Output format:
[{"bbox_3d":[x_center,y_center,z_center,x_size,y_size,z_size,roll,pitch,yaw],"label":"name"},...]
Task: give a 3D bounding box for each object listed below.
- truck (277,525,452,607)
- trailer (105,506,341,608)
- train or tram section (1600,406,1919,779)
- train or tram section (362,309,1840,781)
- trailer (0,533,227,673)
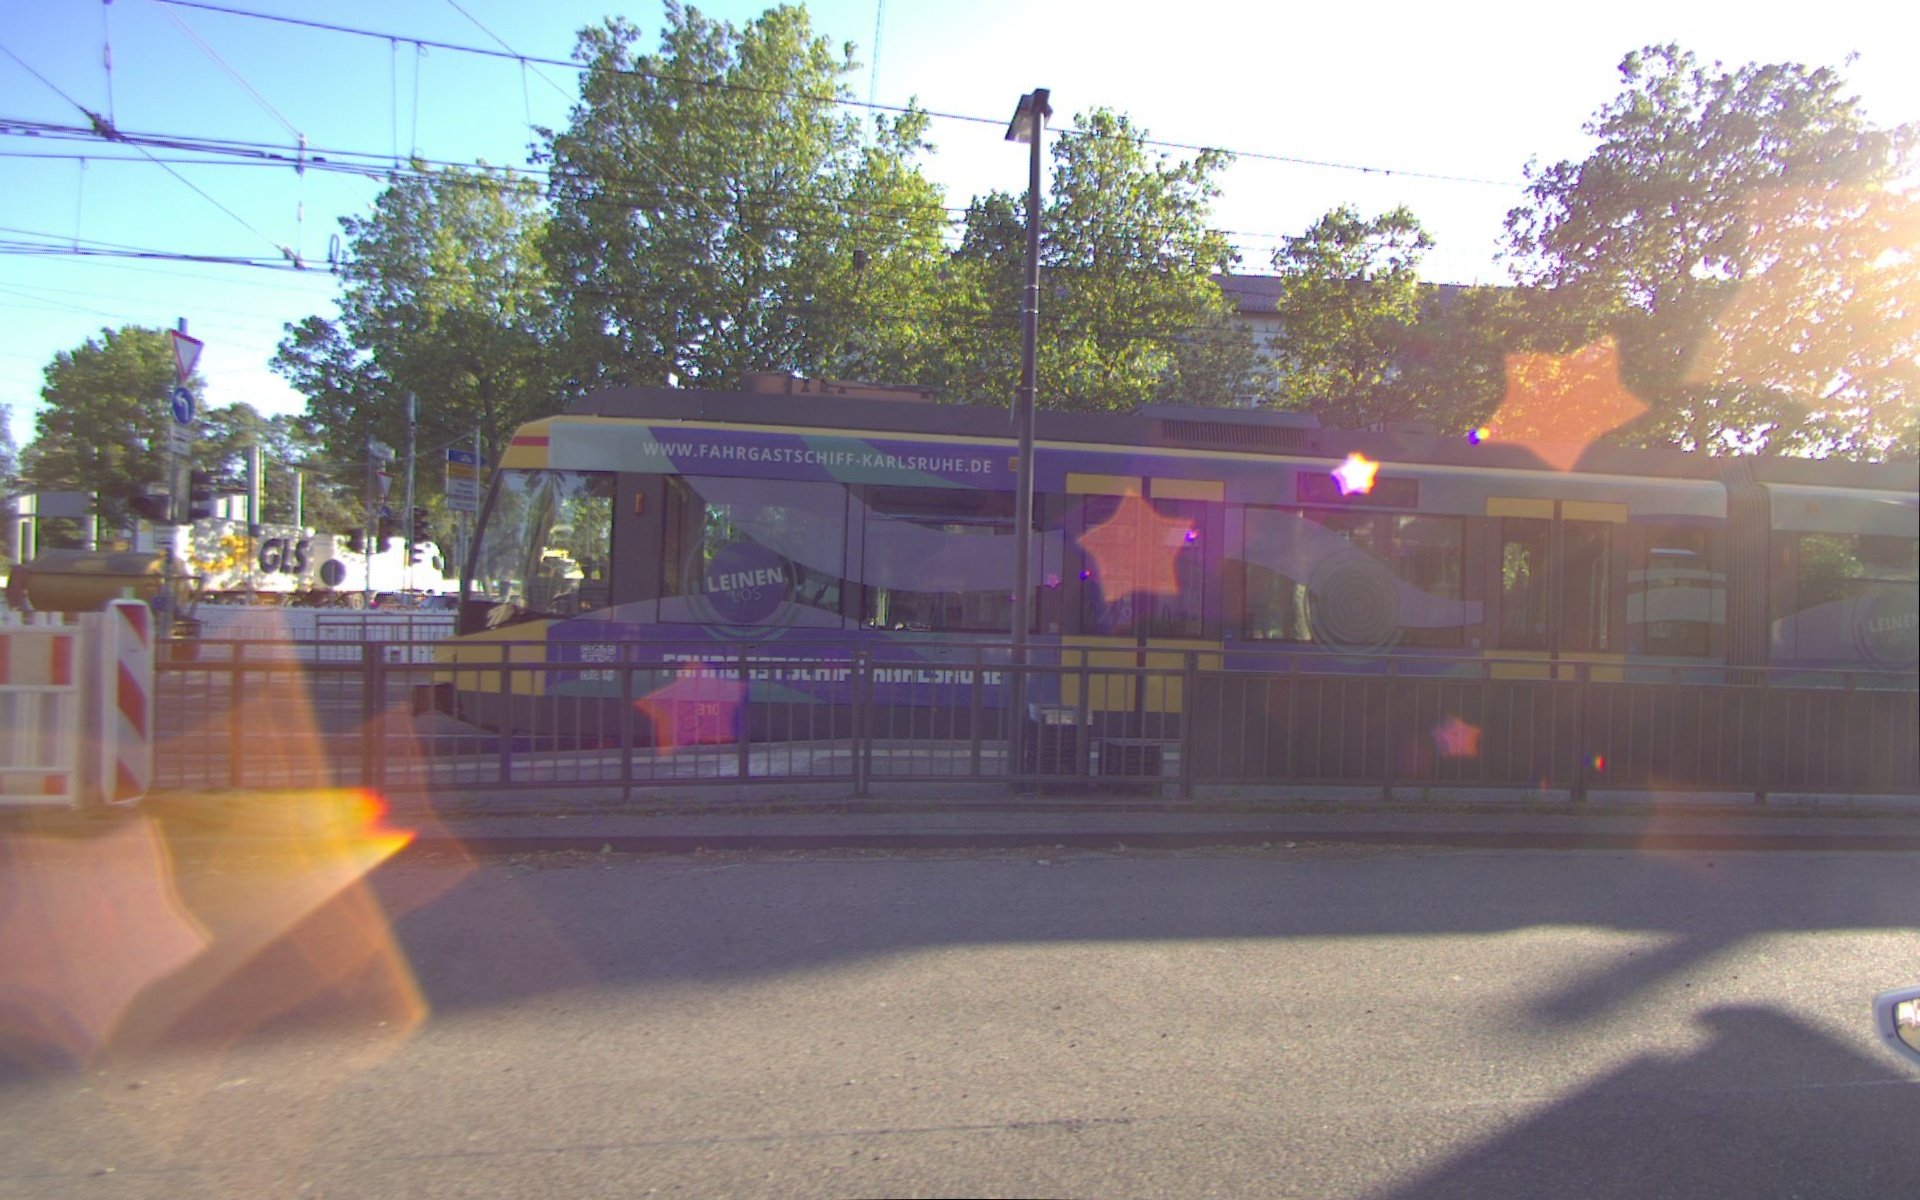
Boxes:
[{"bbox_3d":[-31.178,-1.582,53.352,2.843,3.840,10.435,2,0,1],"label":"truck"},{"bbox_3d":[-31.408,-1.638,43.513,2.837,3.848,9.251,2,0,4],"label":"trailer"},{"bbox_3d":[14.352,0.148,11.884,12.547,3.596,2.734,2,0,-7],"label":"train or tram section"},{"bbox_3d":[1.683,-0.278,10.190,13.147,3.580,2.856,2,0,-7],"label":"train or tram section"},{"bbox_3d":[-14.978,0.036,16.479,4.273,2.143,1.994,1,0,-15],"label":"trailer"}]
